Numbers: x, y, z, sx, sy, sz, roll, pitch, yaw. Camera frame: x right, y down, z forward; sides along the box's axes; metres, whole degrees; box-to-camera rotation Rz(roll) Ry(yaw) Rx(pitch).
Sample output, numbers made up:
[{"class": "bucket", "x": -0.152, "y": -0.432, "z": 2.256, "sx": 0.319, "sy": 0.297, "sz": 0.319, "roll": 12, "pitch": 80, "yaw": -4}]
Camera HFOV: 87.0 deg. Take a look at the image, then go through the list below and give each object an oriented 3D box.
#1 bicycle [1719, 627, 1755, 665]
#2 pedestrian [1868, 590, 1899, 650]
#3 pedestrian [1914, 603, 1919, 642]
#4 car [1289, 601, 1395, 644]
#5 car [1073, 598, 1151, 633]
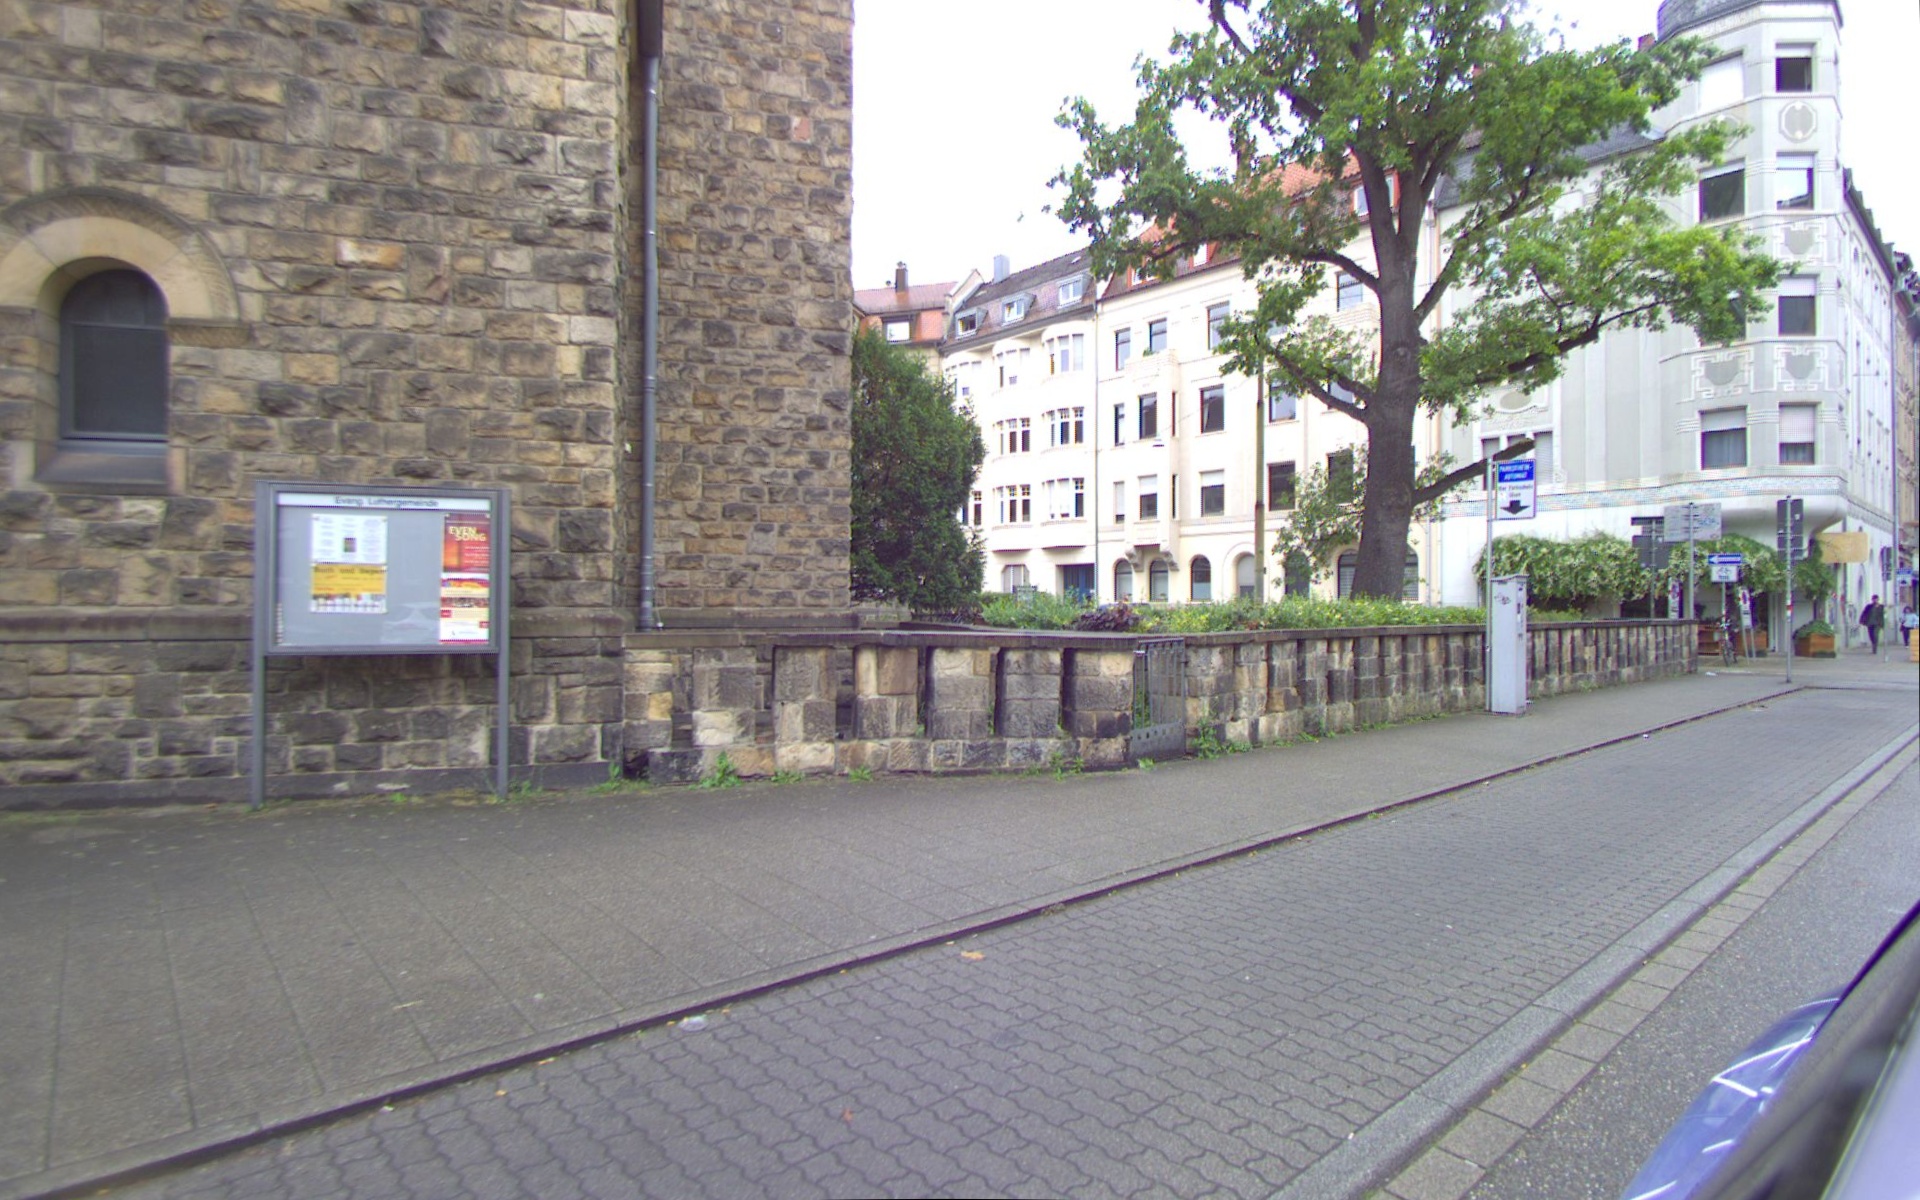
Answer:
[{"class": "bicycle", "x": 21.107, "y": 1.229, "z": 27.477, "sx": 1.989, "sy": 0.904, "sz": 0.390, "roll": -2, "pitch": 2, "yaw": -41}, {"class": "pedestrian", "x": 29.669, "y": 0.642, "z": 32.522, "sx": 0.681, "sy": 1.896, "sz": 0.645, "roll": 1, "pitch": 0, "yaw": -41}, {"class": "pedestrian", "x": 36.359, "y": 0.839, "z": 38.203, "sx": 0.385, "sy": 1.479, "sz": 0.481, "roll": 1, "pitch": 0, "yaw": -41}, {"class": "car", "x": 13.574, "y": 0.772, "z": 36.103, "sx": 1.421, "sy": 1.427, "sz": 3.271, "roll": 1, "pitch": 0, "yaw": -38}, {"class": "car", "x": 6.621, "y": 0.667, "z": 44.313, "sx": 1.421, "sy": 1.427, "sz": 3.271, "roll": 1, "pitch": 0, "yaw": -38}]
